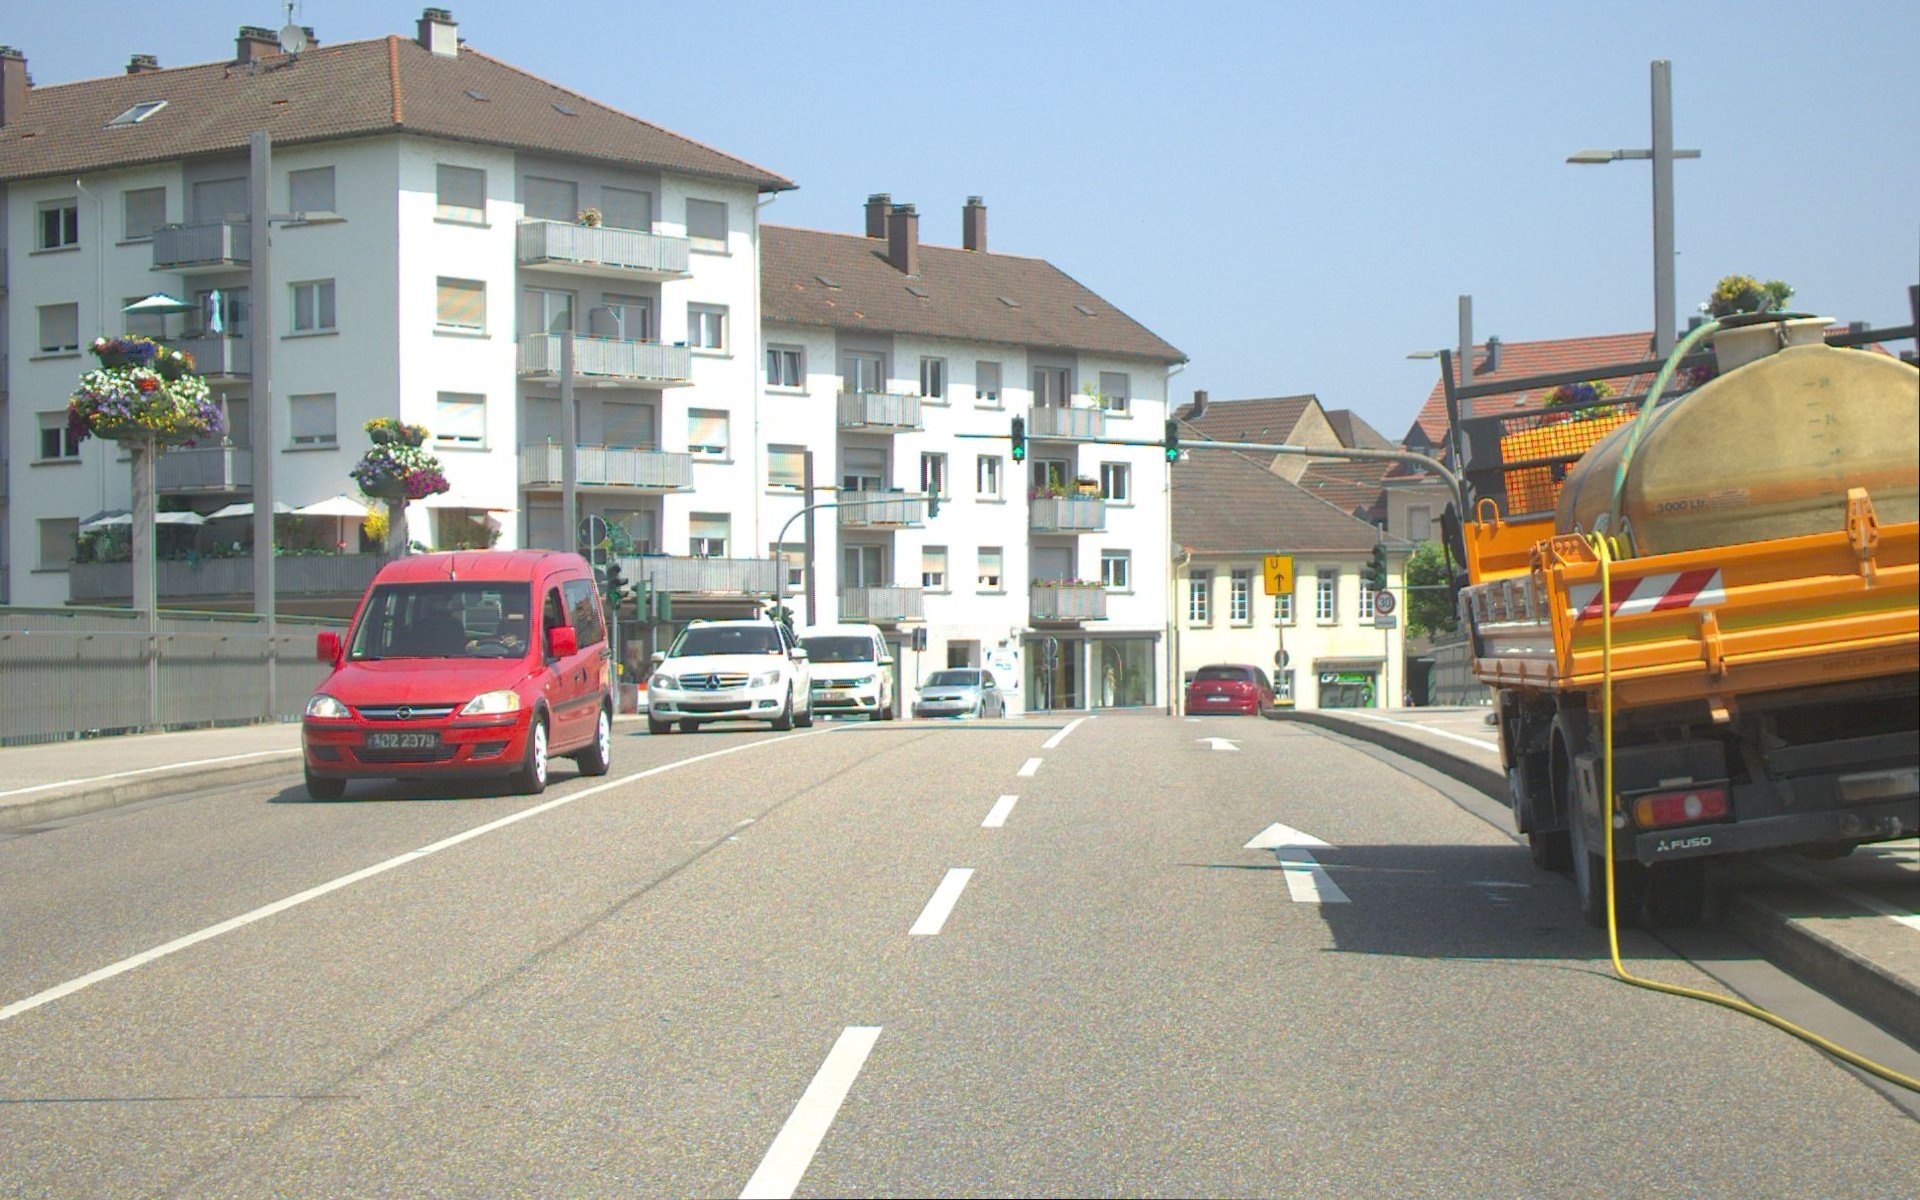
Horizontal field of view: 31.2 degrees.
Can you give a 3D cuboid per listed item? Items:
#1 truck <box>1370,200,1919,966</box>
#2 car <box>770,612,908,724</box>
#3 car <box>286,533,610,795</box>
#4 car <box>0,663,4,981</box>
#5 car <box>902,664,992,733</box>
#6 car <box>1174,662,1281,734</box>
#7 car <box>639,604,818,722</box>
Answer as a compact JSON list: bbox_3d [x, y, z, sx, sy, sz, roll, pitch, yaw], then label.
[{"bbox_3d":[3.446,-0.100,15.507,2.606,2.682,5.822,-5,0,3],"label":"truck"},{"bbox_3d":[-2.157,1.272,62.558,1.759,1.851,4.645,-4,-2,6],"label":"car"},{"bbox_3d":[-3.683,0.463,25.400,1.736,1.771,4.176,0,-1,0],"label":"car"},{"bbox_3d":[-4.577,0.757,10.789,1.698,1.354,4.455,-1,0,3],"label":"car"},{"bbox_3d":[-0.284,2.301,81.113,1.760,1.514,3.999,-2,-1,5],"label":"car"},{"bbox_3d":[6.501,2.345,83.110,1.991,1.607,4.340,-1,0,12],"label":"car"},{"bbox_3d":[-2.927,0.799,44.419,1.844,1.427,4.713,0,-1,2],"label":"car"}]
